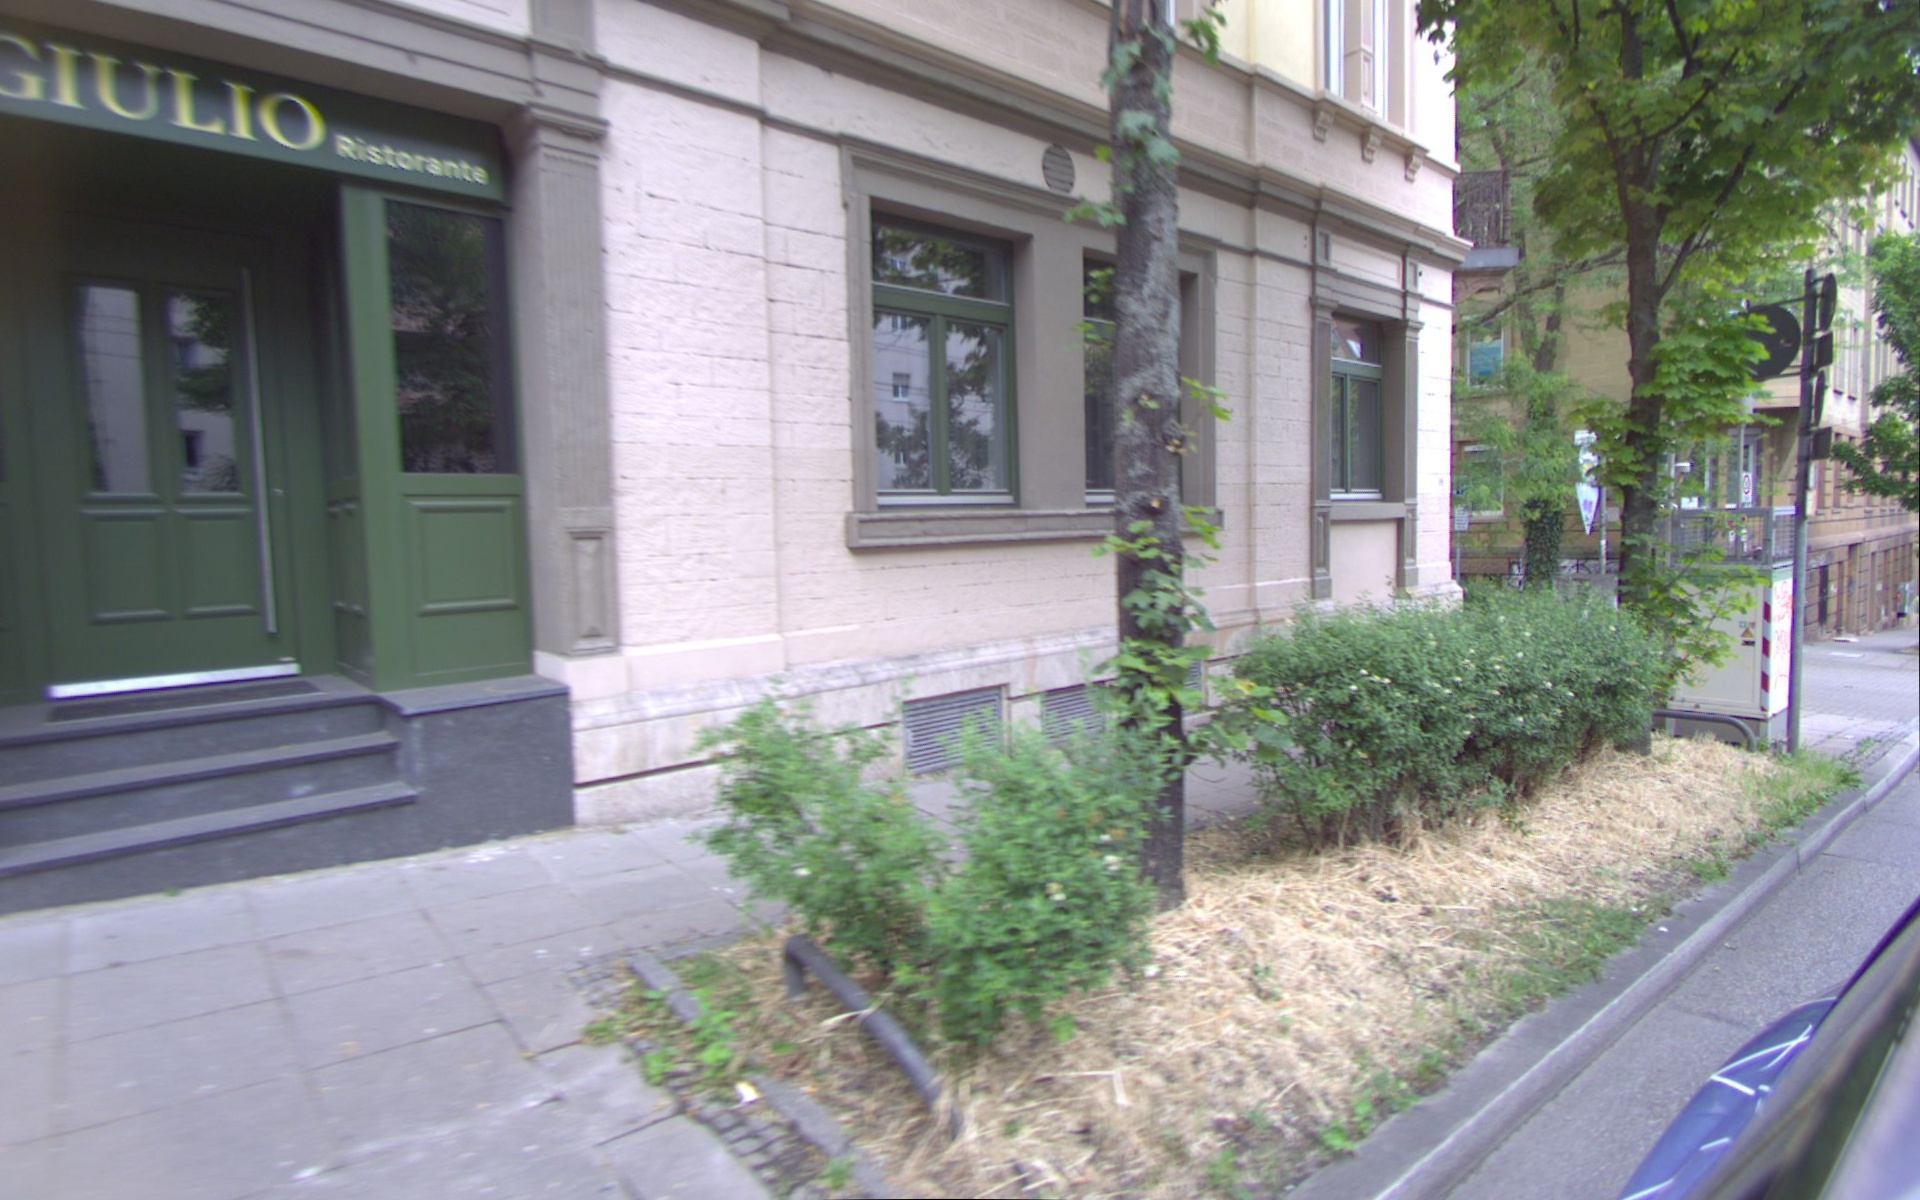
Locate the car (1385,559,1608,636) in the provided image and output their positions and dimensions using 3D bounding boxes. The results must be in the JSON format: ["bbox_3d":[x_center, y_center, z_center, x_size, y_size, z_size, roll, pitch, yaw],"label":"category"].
[{"bbox_3d":[12.218,-0.122,23.245,1.780,1.395,4.095,0,5,-42],"label":"car"}]
